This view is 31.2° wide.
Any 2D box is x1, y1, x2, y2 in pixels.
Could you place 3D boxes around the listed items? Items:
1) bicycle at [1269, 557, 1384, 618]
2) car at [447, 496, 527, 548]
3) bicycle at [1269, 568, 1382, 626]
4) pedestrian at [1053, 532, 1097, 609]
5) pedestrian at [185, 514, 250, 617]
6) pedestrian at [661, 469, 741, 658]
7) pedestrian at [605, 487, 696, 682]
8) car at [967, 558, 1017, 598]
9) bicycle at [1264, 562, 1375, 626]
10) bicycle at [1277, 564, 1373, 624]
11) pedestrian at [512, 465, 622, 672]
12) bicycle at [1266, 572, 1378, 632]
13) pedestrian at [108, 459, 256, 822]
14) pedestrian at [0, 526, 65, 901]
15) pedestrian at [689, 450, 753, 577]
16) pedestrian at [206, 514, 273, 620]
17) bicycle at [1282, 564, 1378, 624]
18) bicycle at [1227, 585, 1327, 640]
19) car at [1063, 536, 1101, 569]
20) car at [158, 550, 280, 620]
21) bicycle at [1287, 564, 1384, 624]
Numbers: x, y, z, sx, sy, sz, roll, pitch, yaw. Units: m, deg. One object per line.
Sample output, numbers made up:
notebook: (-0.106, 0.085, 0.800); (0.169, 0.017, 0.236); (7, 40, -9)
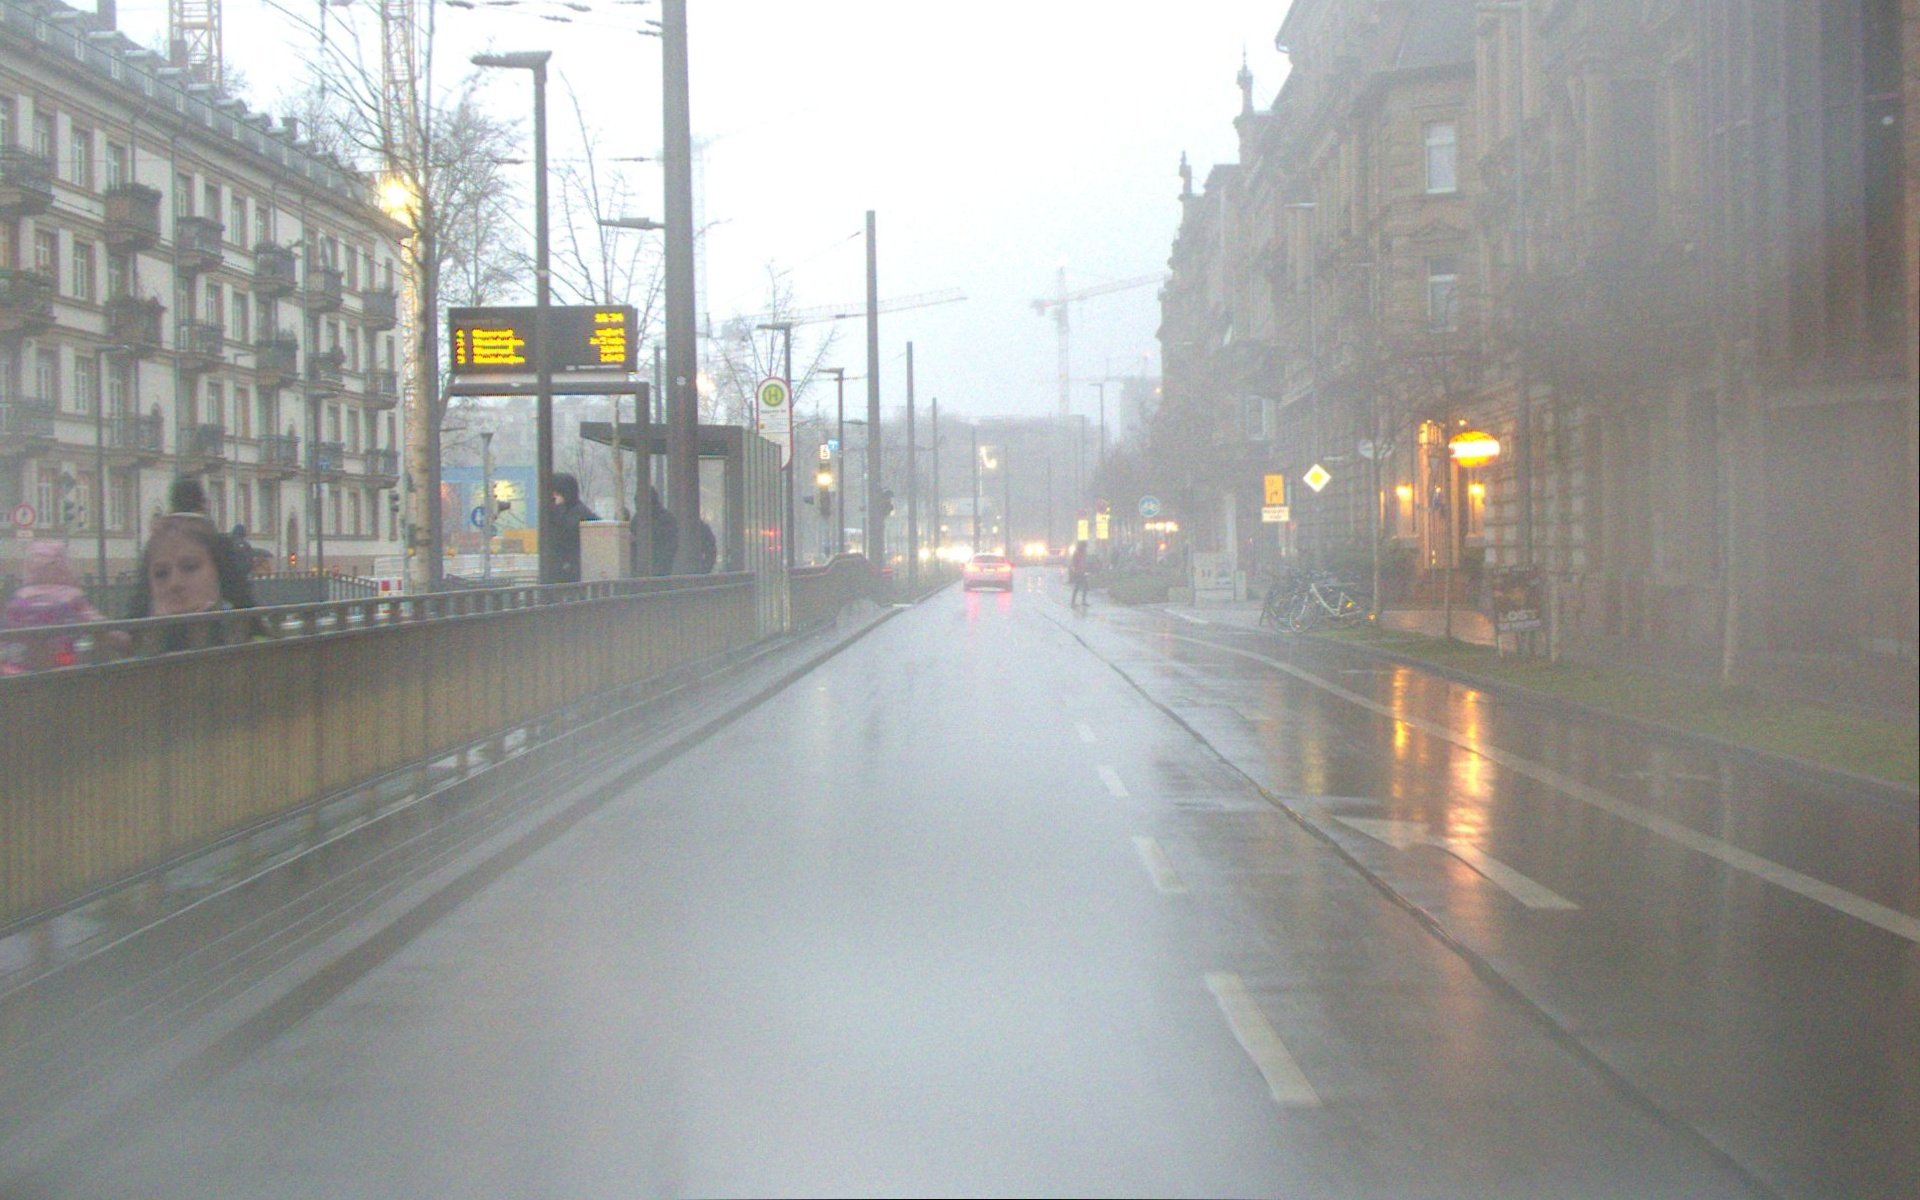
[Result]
bicycle: (7.131, -0.248, 66.916); (2.144, 1.051, 0.425); (-3, 2, 0)
car: (-12.645, -2.079, 92.046); (1.681, 1.349, 3.546); (0, 1, 0)
bicycle: (7.179, -0.054, 67.563); (2.144, 1.051, 0.484); (-2, 1, 0)
pedestrian: (3.024, -0.778, 90.577); (0.916, 2.007, 0.855); (0, 1, 20)
pedestrian: (-12.890, -0.598, 59.675); (0.795, 1.773, 0.822); (0, 1, -41)
pedestrian: (-2.913, -0.413, 38.734); (0.809, 2.103, 0.804); (-1, 1, 1)
pedestrian: (-3.128, -0.158, 34.757); (0.809, 1.941, 0.804); (-1, 1, 1)
car: (1.228, -0.854, 131.667); (1.784, 1.462, 3.148); (-1, 1, 3)
bicycle: (6.871, -0.110, 65.687); (2.008, 1.091, 0.425); (-4, 1, 0)
bicycle: (6.865, -0.118, 64.722); (1.730, 1.051, 0.371); (-2, 1, 0)
pedestrian: (-3.283, -0.263, 28.691); (0.776, 1.698, 0.773); (0, 1, -17)
bicycle: (7.243, 0.042, 68.853); (2.144, 1.051, 0.425); (-4, 2, 0)
pedestrian: (-3.724, 0.184, 16.443); (0.645, 1.698, 0.568); (0, 1, -17)
pedestrian: (-4.450, 0.507, 15.743); (0.540, 1.686, 0.643); (0, 1, -2)
pedestrian: (-2.855, -1.029, 41.009); (0.679, 1.511, 0.619); (0, 1, -11)
pedestrian: (-12.100, -0.558, 57.744); (0.795, 1.773, 0.822); (0, 1, -41)
bicycle: (6.912, -0.115, 64.266); (1.730, 1.051, 0.371); (-2, 1, 0)
bicycle: (6.594, 0.257, 71.439); (2.087, 1.048, 0.478); (-3, 1, -25)
car: (6.110, -2.368, 171.816); (1.799, 1.598, 3.769); (-1, 1, 3)
car: (-14.787, -0.318, 68.759); (1.681, 1.349, 3.546); (0, 1, 0)
bicycle: (6.967, -0.109, 63.763); (1.730, 1.051, 0.371); (-2, 1, 0)
